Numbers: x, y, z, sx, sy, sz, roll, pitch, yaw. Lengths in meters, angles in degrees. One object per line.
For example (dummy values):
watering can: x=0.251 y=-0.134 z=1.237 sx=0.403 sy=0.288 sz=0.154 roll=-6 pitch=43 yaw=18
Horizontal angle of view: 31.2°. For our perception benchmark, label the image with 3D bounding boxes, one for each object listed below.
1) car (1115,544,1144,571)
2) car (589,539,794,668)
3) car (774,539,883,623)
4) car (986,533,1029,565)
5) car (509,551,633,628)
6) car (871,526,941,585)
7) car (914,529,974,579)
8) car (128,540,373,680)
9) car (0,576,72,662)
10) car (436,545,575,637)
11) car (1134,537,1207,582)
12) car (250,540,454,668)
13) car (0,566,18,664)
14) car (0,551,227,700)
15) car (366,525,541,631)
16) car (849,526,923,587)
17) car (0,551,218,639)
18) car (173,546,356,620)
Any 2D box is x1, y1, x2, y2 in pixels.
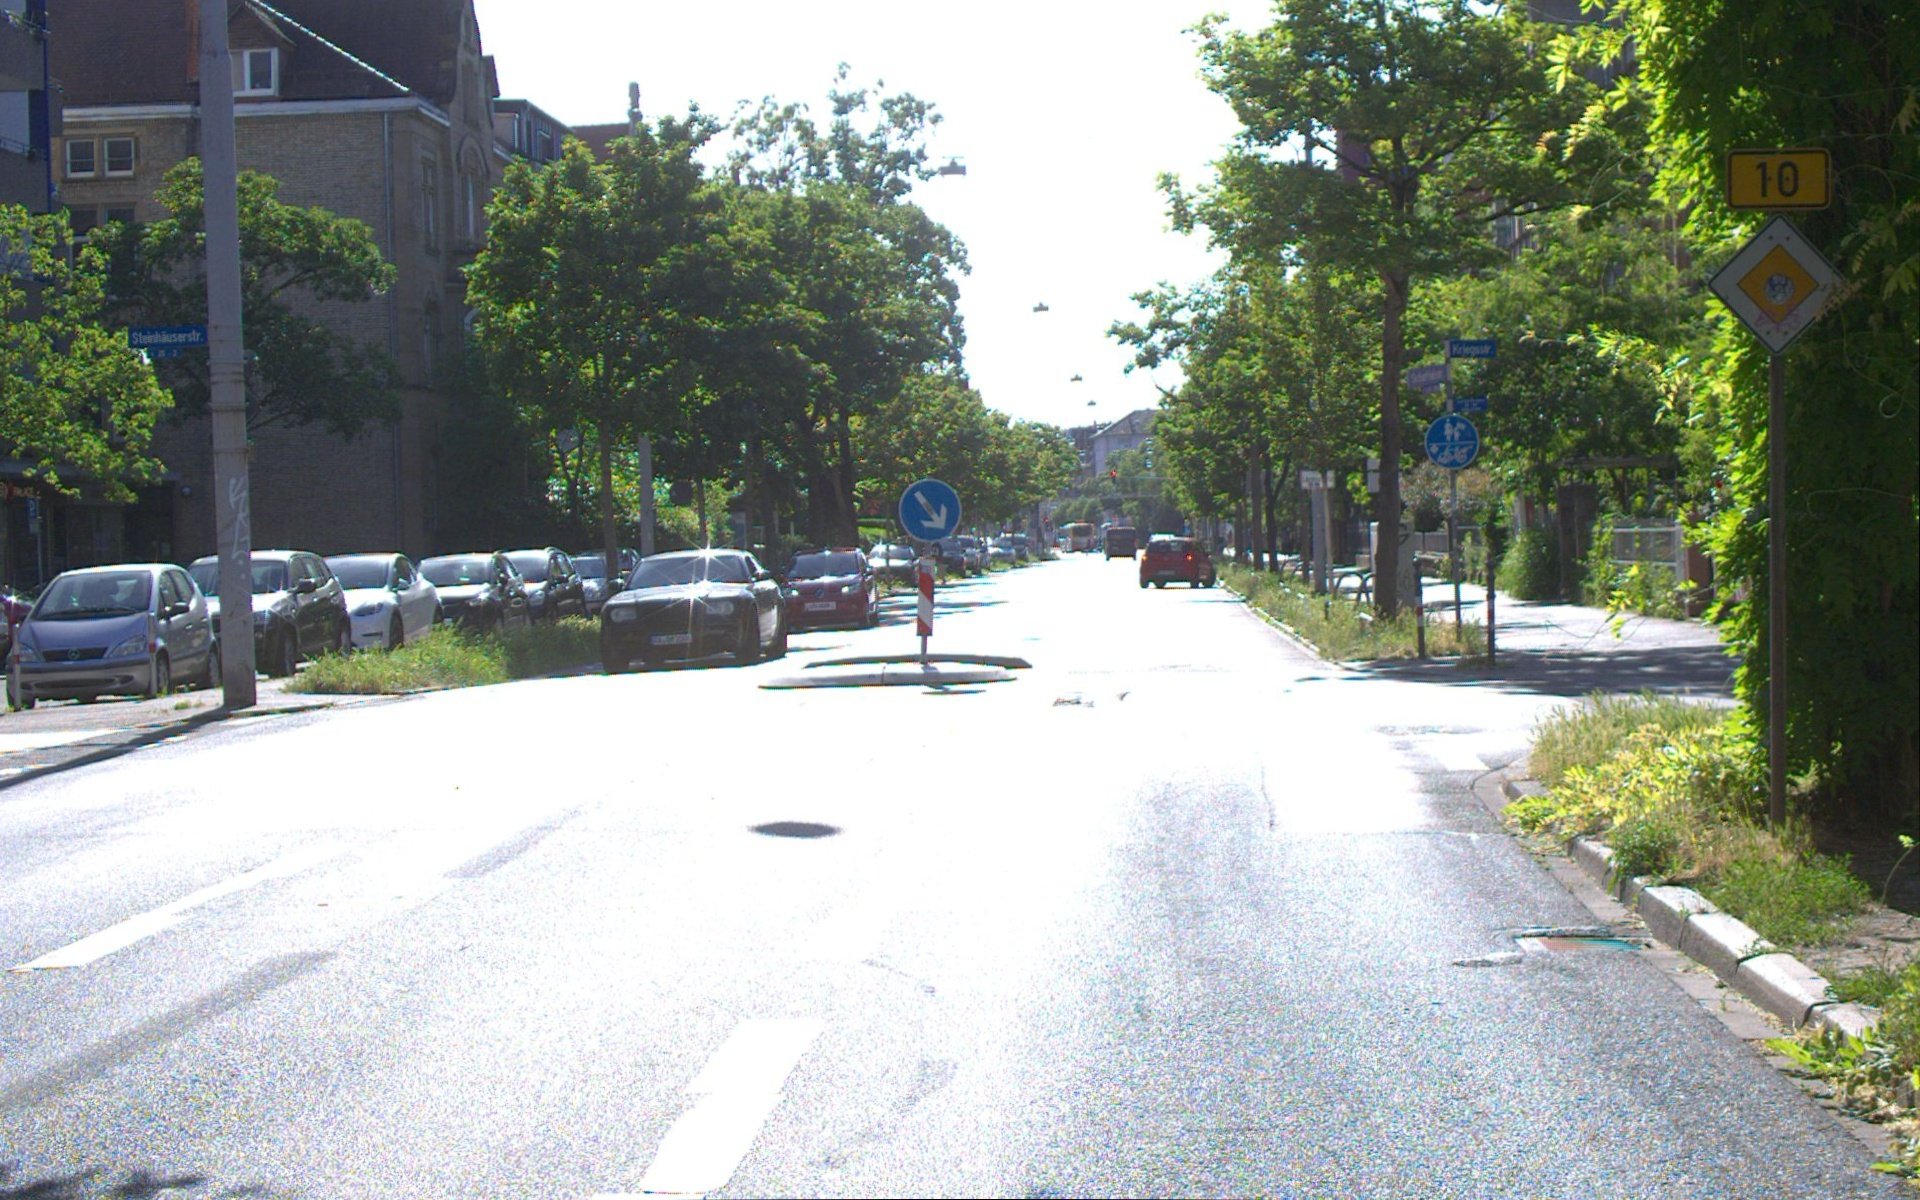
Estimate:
car: x=11.445 y=-2.873 z=231.706 sx=1.758 sy=1.777 sz=4.000 roll=-2 pitch=1 yaw=4
car: x=-3.333 y=0.000 z=43.491 sx=1.866 sy=1.453 sz=4.592 roll=-2 pitch=1 yaw=4
car: x=-2.384 y=-0.361 z=62.960 sx=1.651 sy=1.423 sz=3.507 roll=-2 pitch=1 yaw=3
car: x=2.686 y=-2.860 z=193.776 sx=1.994 sy=1.690 sz=3.999 roll=-2 pitch=1 yaw=6
car: x=-7.694 y=-0.229 z=68.268 sx=1.755 sy=1.393 sz=4.000 roll=-2 pitch=1 yaw=3
car: x=-1.922 y=-1.615 z=124.032 sx=1.994 sy=2.007 sz=4.205 roll=-2 pitch=1 yaw=5
car: x=-0.657 y=-1.966 z=145.118 sx=2.061 sy=2.007 sz=4.628 roll=-2 pitch=1 yaw=5
car: x=-9.054 y=0.084 z=44.255 sx=1.868 sy=1.622 sz=4.504 roll=-2 pitch=1 yaw=4
car: x=-17.547 y=0.361 z=59.305 sx=3.987 sy=1.420 sz=1.687 roll=-2 pitch=1 yaw=0
car: x=-8.261 y=-0.191 z=62.846 sx=1.751 sy=1.548 sz=4.000 roll=-2 pitch=1 yaw=3
car: x=6.230 y=-1.205 z=101.259 sx=1.798 sy=1.219 sz=3.999 roll=-1 pitch=1 yaw=8
car: x=-8.869 y=0.017 z=50.538 sx=1.888 sy=1.656 sz=4.530 roll=-4 pitch=1 yaw=3
car: x=-17.781 y=0.306 z=56.618 sx=3.987 sy=1.602 sz=1.842 roll=-2 pitch=1 yaw=0
car: x=-9.570 y=0.252 z=38.809 sx=1.719 sy=1.513 sz=3.532 roll=-3 pitch=1 yaw=1
car: x=-8.320 y=-0.394 z=56.768 sx=1.863 sy=1.582 sz=3.999 roll=-3 pitch=1 yaw=6
car: x=-2.520 y=-1.511 z=118.138 sx=1.994 sy=2.007 sz=4.205 roll=-2 pitch=1 yaw=6
car: x=-17.236 y=-0.111 z=69.691 sx=3.987 sy=1.624 sz=1.687 roll=-2 pitch=1 yaw=0
car: x=-16.615 y=-0.405 z=82.260 sx=3.987 sy=1.624 sz=1.687 roll=-2 pitch=1 yaw=0
